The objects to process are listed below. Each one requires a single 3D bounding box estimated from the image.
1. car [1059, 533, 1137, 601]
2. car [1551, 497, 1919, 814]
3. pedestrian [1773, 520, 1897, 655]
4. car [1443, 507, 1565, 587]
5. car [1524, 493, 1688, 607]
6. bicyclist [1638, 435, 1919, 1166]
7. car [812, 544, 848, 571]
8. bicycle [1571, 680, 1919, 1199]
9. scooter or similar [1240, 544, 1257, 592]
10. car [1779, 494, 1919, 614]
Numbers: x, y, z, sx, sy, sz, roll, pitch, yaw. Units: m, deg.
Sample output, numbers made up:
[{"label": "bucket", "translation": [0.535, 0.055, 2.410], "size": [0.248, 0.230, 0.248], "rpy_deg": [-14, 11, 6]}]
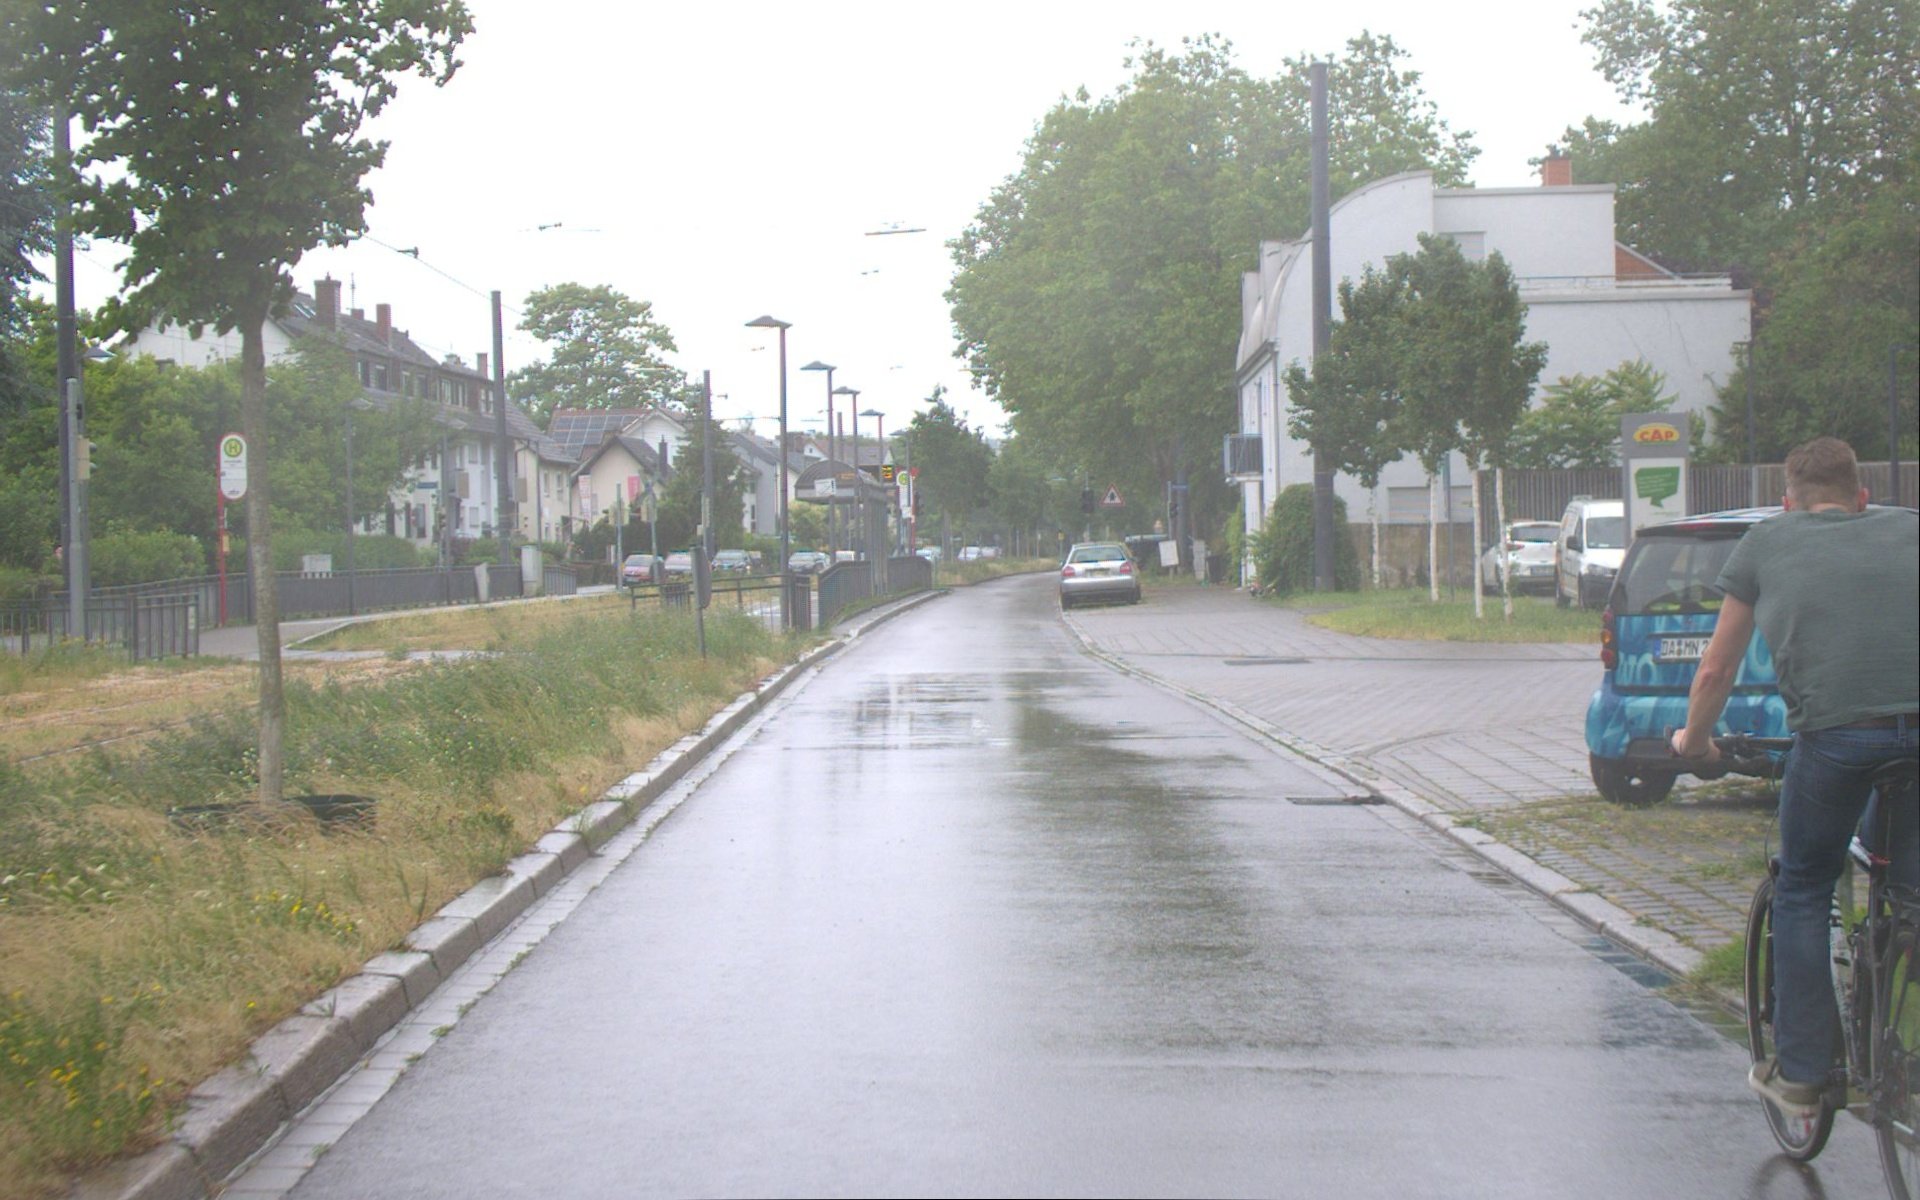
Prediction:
[{"label": "car", "translation": [3.168, -0.730, 79.041], "size": [1.650, 1.400, 4.649], "rpy_deg": [-4, 0, 2]}, {"label": "car", "translation": [4.601, 0.246, 18.196], "size": [2.558, 1.542, 1.602], "rpy_deg": [-2, 1, -40]}, {"label": "pedestrian", "translation": [9.946, -0.140, 39.103], "size": [0.835, 1.512, 1.095], "rpy_deg": [0, 0, -29]}, {"label": "car", "translation": [10.763, -1.071, 68.245], "size": [1.963, 1.529, 4.363], "rpy_deg": [0, 2, 3]}, {"label": "car", "translation": [10.444, -0.844, 55.895], "size": [1.963, 1.778, 4.897], "rpy_deg": [0, 2, 3]}, {"label": "bicyclist", "translation": [1.902, 0.424, 7.722], "size": [0.534, 1.554, 0.773], "rpy_deg": [0, 0, -7]}, {"label": "car", "translation": [-7.222, -2.350, 191.066], "size": [1.633, 1.488, 4.000], "rpy_deg": [0, 0, 3]}, {"label": "bicycle", "translation": [1.914, 0.753, 7.780], "size": [0.536, 1.089, 1.949], "rpy_deg": [0, 0, -6]}, {"label": "scooter or similar", "translation": [6.508, -0.713, 77.450], "size": [0.333, 1.081, 1.395], "rpy_deg": [0, 0, 7]}, {"label": "car", "translation": [12.175, -0.554, 42.202], "size": [1.993, 1.436, 4.000], "rpy_deg": [0, 0, -28]}]
